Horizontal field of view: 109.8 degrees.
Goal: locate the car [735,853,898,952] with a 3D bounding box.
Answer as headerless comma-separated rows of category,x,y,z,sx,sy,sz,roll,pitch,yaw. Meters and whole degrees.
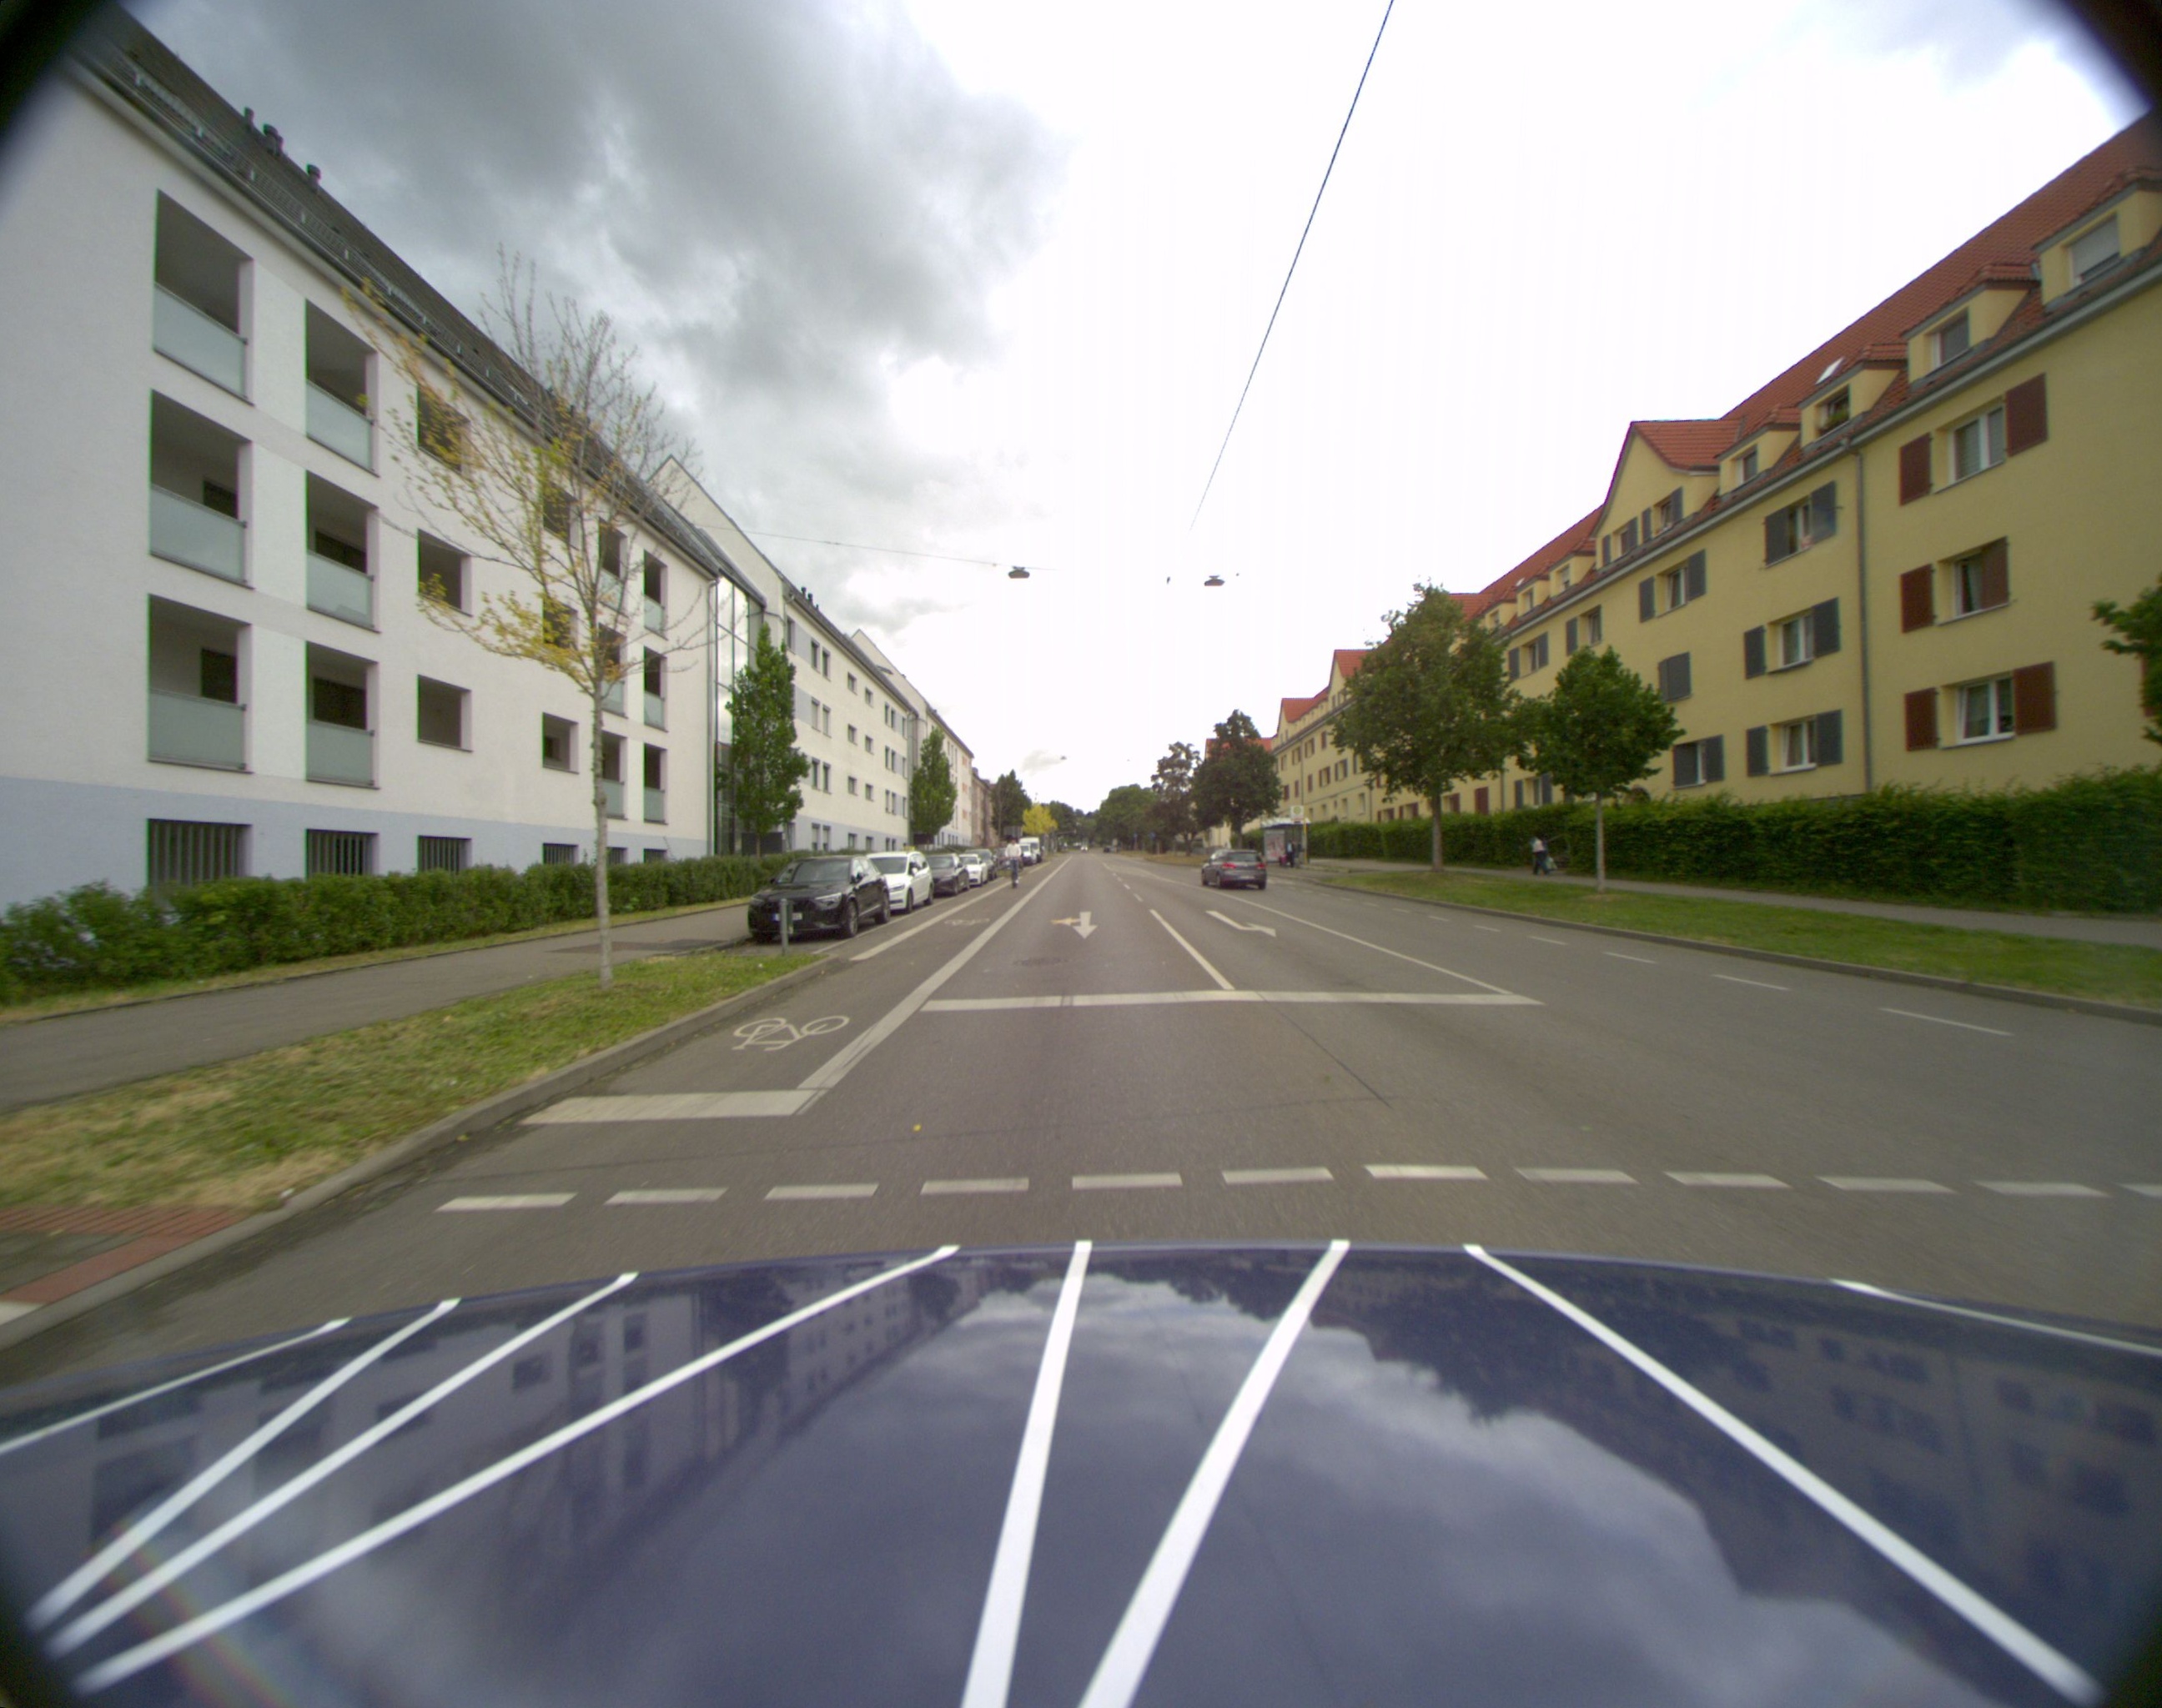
car,-5.203,0.855,15.660,1.739,1.579,4.571,-3,1,-1

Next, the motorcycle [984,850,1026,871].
motorcycle,-4.879,0.427,48.976,2.605,1.271,0.753,-1,1,-4

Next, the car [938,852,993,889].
car,-4.963,0.670,33.192,1.734,1.405,4.499,-3,0,-1

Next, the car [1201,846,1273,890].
car,5.837,0.482,28.959,1.761,1.464,4.305,2,0,-1

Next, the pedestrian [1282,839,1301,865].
pedestrian,12.629,-0.112,45.597,0.901,1.501,0.806,-2,1,1

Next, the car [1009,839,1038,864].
car,-4.780,-0.214,64.053,1.999,1.932,5.210,-1,0,0

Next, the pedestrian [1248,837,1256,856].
pedestrian,15.835,-0.701,70.292,0.515,1.769,0.753,-1,1,0

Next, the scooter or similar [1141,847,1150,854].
scooter or similar,10.364,-0.532,122.886,1.374,1.080,0.466,0,1,-4

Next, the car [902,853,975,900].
car,-5.059,0.735,27.609,1.750,1.459,4.948,-3,0,-1

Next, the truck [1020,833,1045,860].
truck,-4.708,-0.732,74.699,2.058,2.550,5.688,-1,0,-1

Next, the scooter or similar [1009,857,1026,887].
scooter or similar,-2.530,0.695,30.298,0.492,1.156,2.074,-1,0,0

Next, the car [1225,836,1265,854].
car,21.072,-1.183,97.742,4.729,2.240,1.995,-1,1,1

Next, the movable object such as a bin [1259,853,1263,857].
movable object such as a bin,16.649,0.074,70.216,0.307,0.345,0.581,-1,0,6

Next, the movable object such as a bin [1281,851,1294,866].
movable object such as a bin,12.398,0.278,45.620,0.538,0.841,0.665,-2,1,1

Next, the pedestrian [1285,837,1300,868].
pedestrian,12.046,-0.090,43.248,0.598,1.717,0.861,-2,1,3

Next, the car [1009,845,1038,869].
car,-3.912,0.177,52.388,1.685,1.535,4.338,-2,0,-1

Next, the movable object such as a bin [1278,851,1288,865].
movable object such as a bin,12.469,0.262,46.893,0.465,0.821,0.665,-2,1,1

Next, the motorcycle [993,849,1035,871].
motorcycle,-4.252,0.374,48.097,2.605,1.372,0.692,-1,1,-4

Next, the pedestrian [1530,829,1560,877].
pedestrian,16.007,-0.033,26.202,0.642,1.610,0.618,-1,1,-1

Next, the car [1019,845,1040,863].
car,-4.675,-0.027,69.126,1.529,1.477,3.726,-3,0,0

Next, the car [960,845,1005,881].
car,-4.938,0.413,38.635,1.636,1.641,4.356,-3,0,1

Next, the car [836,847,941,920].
car,-5.133,0.708,20.887,1.663,1.706,4.551,-3,0,0

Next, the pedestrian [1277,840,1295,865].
pedestrian,12.638,-0.102,46.869,0.901,1.465,0.806,-2,1,1

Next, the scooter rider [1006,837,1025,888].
scooter rider,-2.588,0.325,30.132,0.627,2.002,0.757,-1,1,-1
